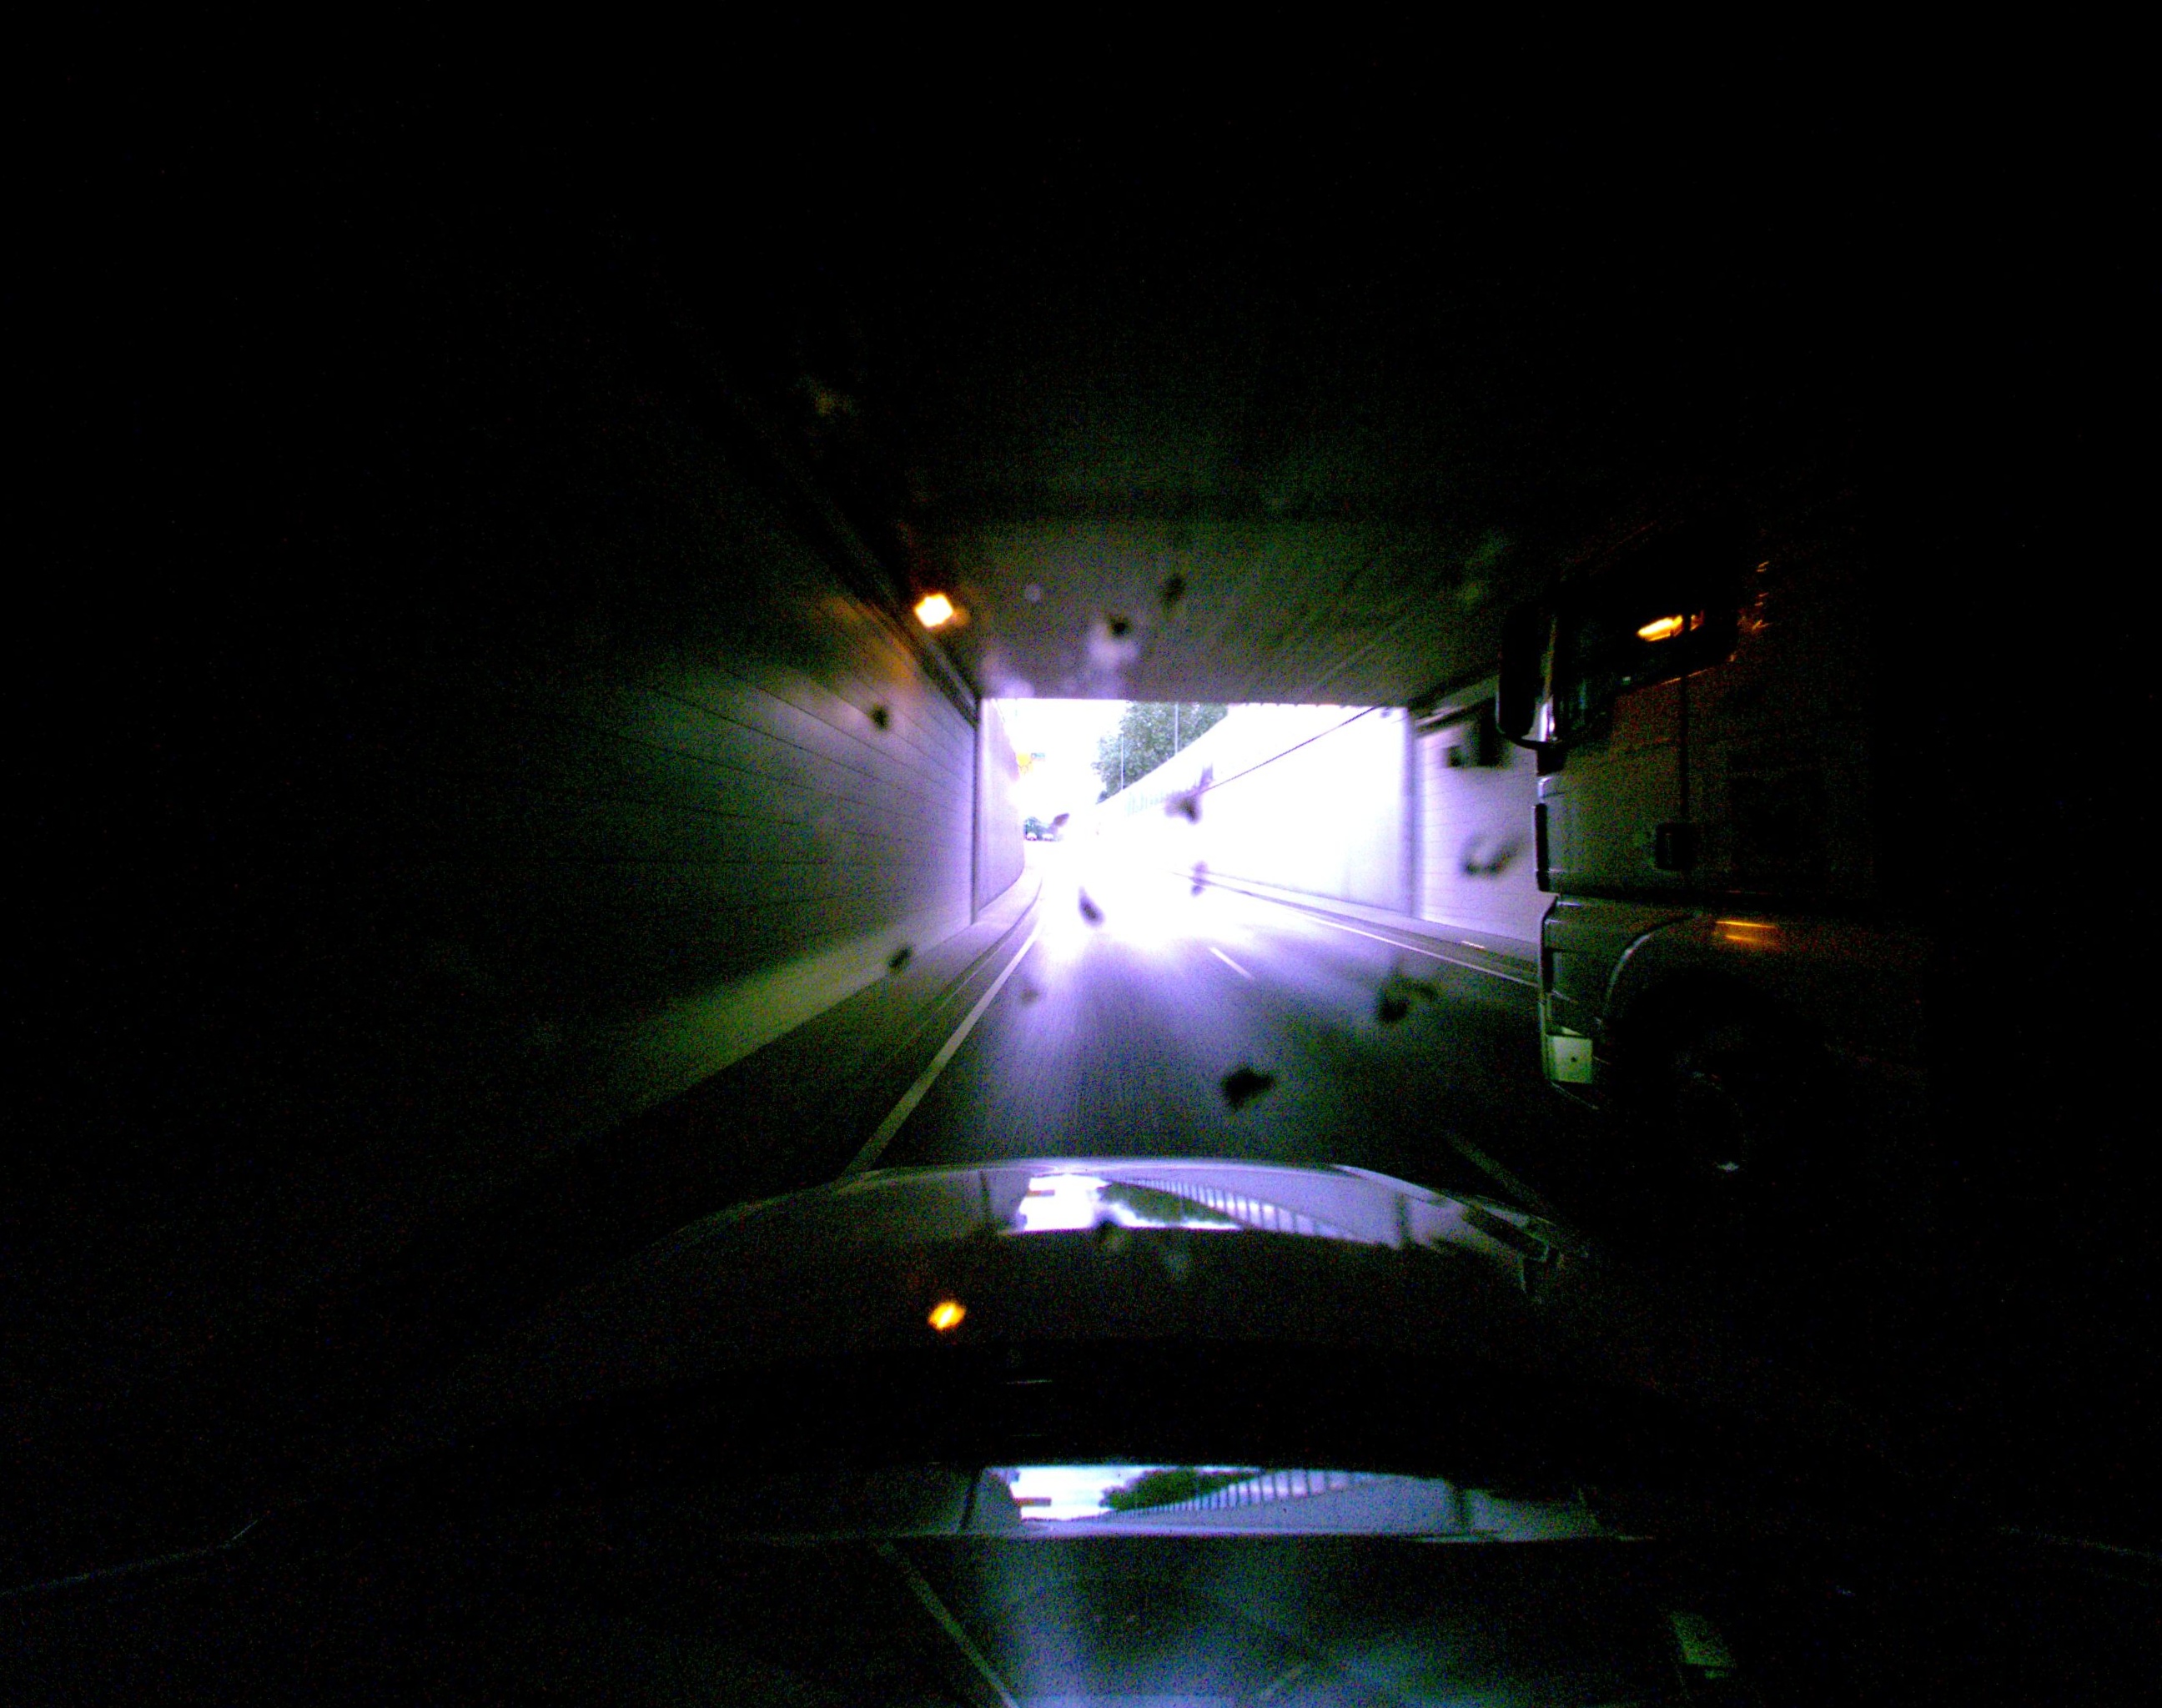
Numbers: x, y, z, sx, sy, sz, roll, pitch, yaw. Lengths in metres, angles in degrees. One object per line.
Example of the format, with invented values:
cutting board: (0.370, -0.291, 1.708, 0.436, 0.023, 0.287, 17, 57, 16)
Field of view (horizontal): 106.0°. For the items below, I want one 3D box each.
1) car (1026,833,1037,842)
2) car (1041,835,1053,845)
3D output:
car: (-9.063, -2.995, 149.560, 1.839, 1.388, 3.990, 0, -1, -7)
car: (-6.388, -2.675, 153.876, 1.868, 1.732, 3.988, 0, -1, -8)
